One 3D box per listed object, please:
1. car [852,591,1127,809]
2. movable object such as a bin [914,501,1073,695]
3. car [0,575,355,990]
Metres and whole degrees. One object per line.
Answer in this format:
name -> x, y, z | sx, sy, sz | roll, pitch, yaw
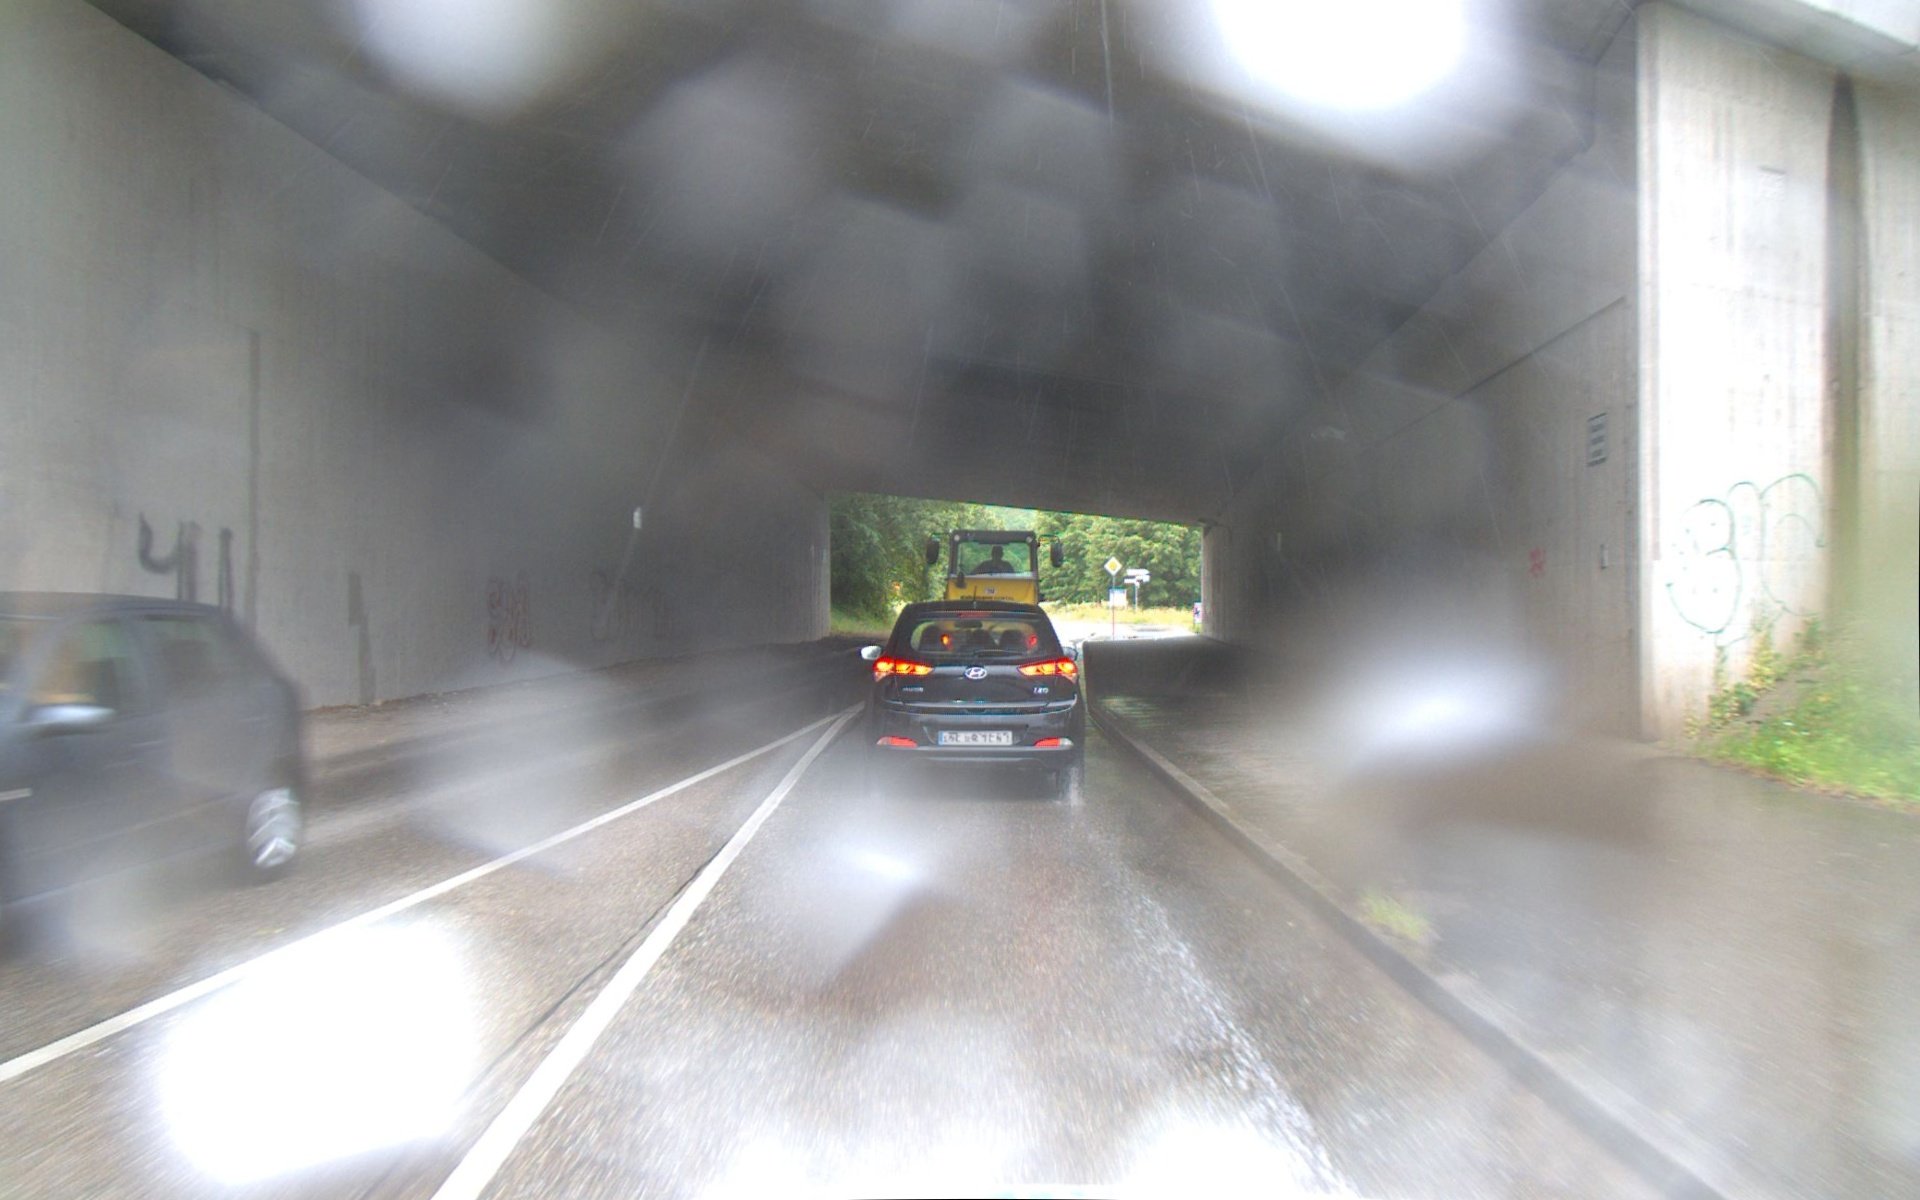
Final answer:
car -> 0.242, 0.725, 13.953 | 1.952, 1.513, 4.000 | 2, 0, 1
movable object such as a bin -> 0.531, -0.021, 26.976 | 2.199, 2.716, 6.627 | 2, 0, 1
car -> -4.255, 0.657, 6.973 | 1.655, 1.513, 4.075 | 1, 0, 4
